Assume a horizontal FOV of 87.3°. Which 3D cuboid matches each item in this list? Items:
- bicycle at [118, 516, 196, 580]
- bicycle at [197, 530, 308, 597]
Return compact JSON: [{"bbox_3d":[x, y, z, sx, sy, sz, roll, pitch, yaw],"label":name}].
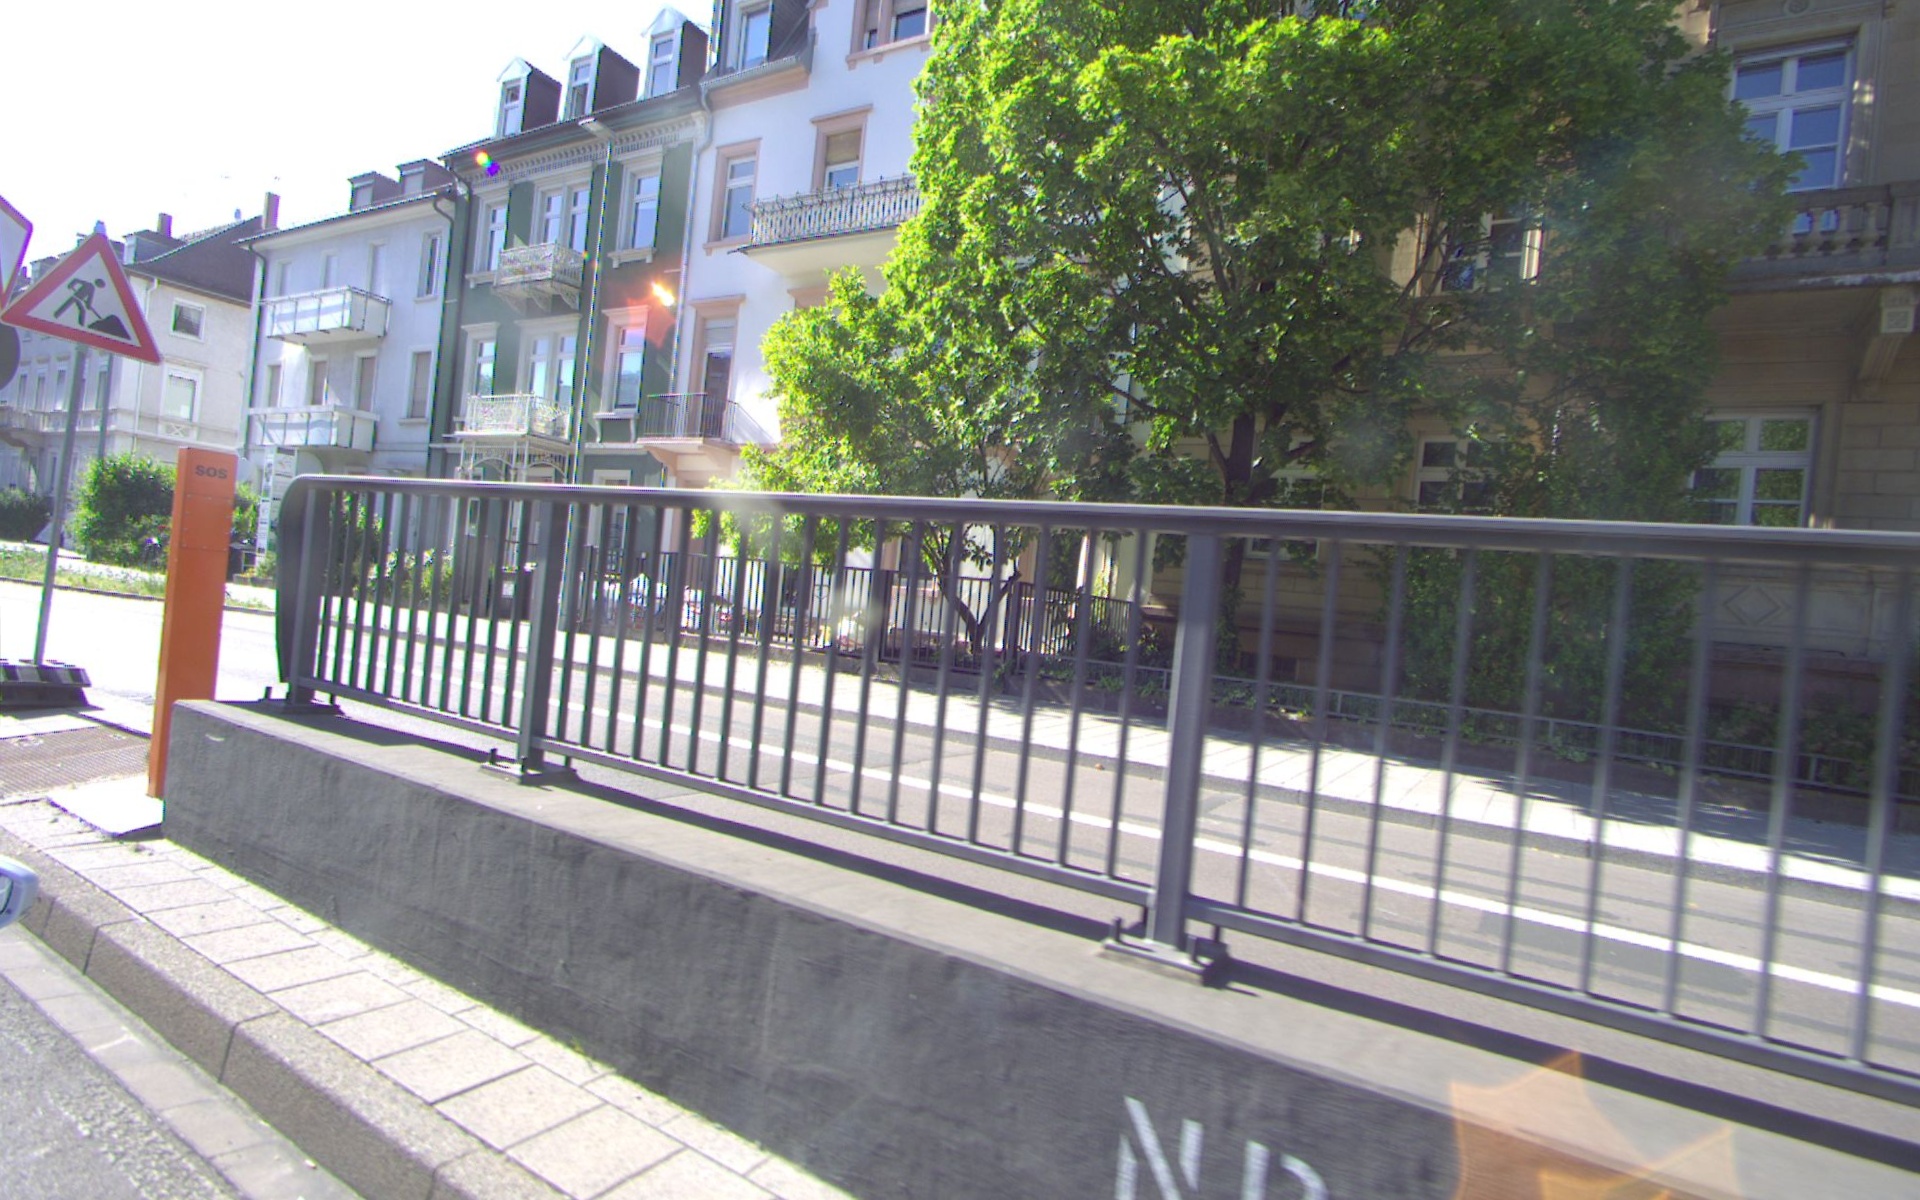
[{"bbox_3d":[-21.604,-1.411,27.044,2.450,1.460,0.709,7,-1,31],"label":"bicycle"},{"bbox_3d":[-18.815,-0.936,26.805,0.627,1.503,2.258,6,-1,30],"label":"bicycle"}]
